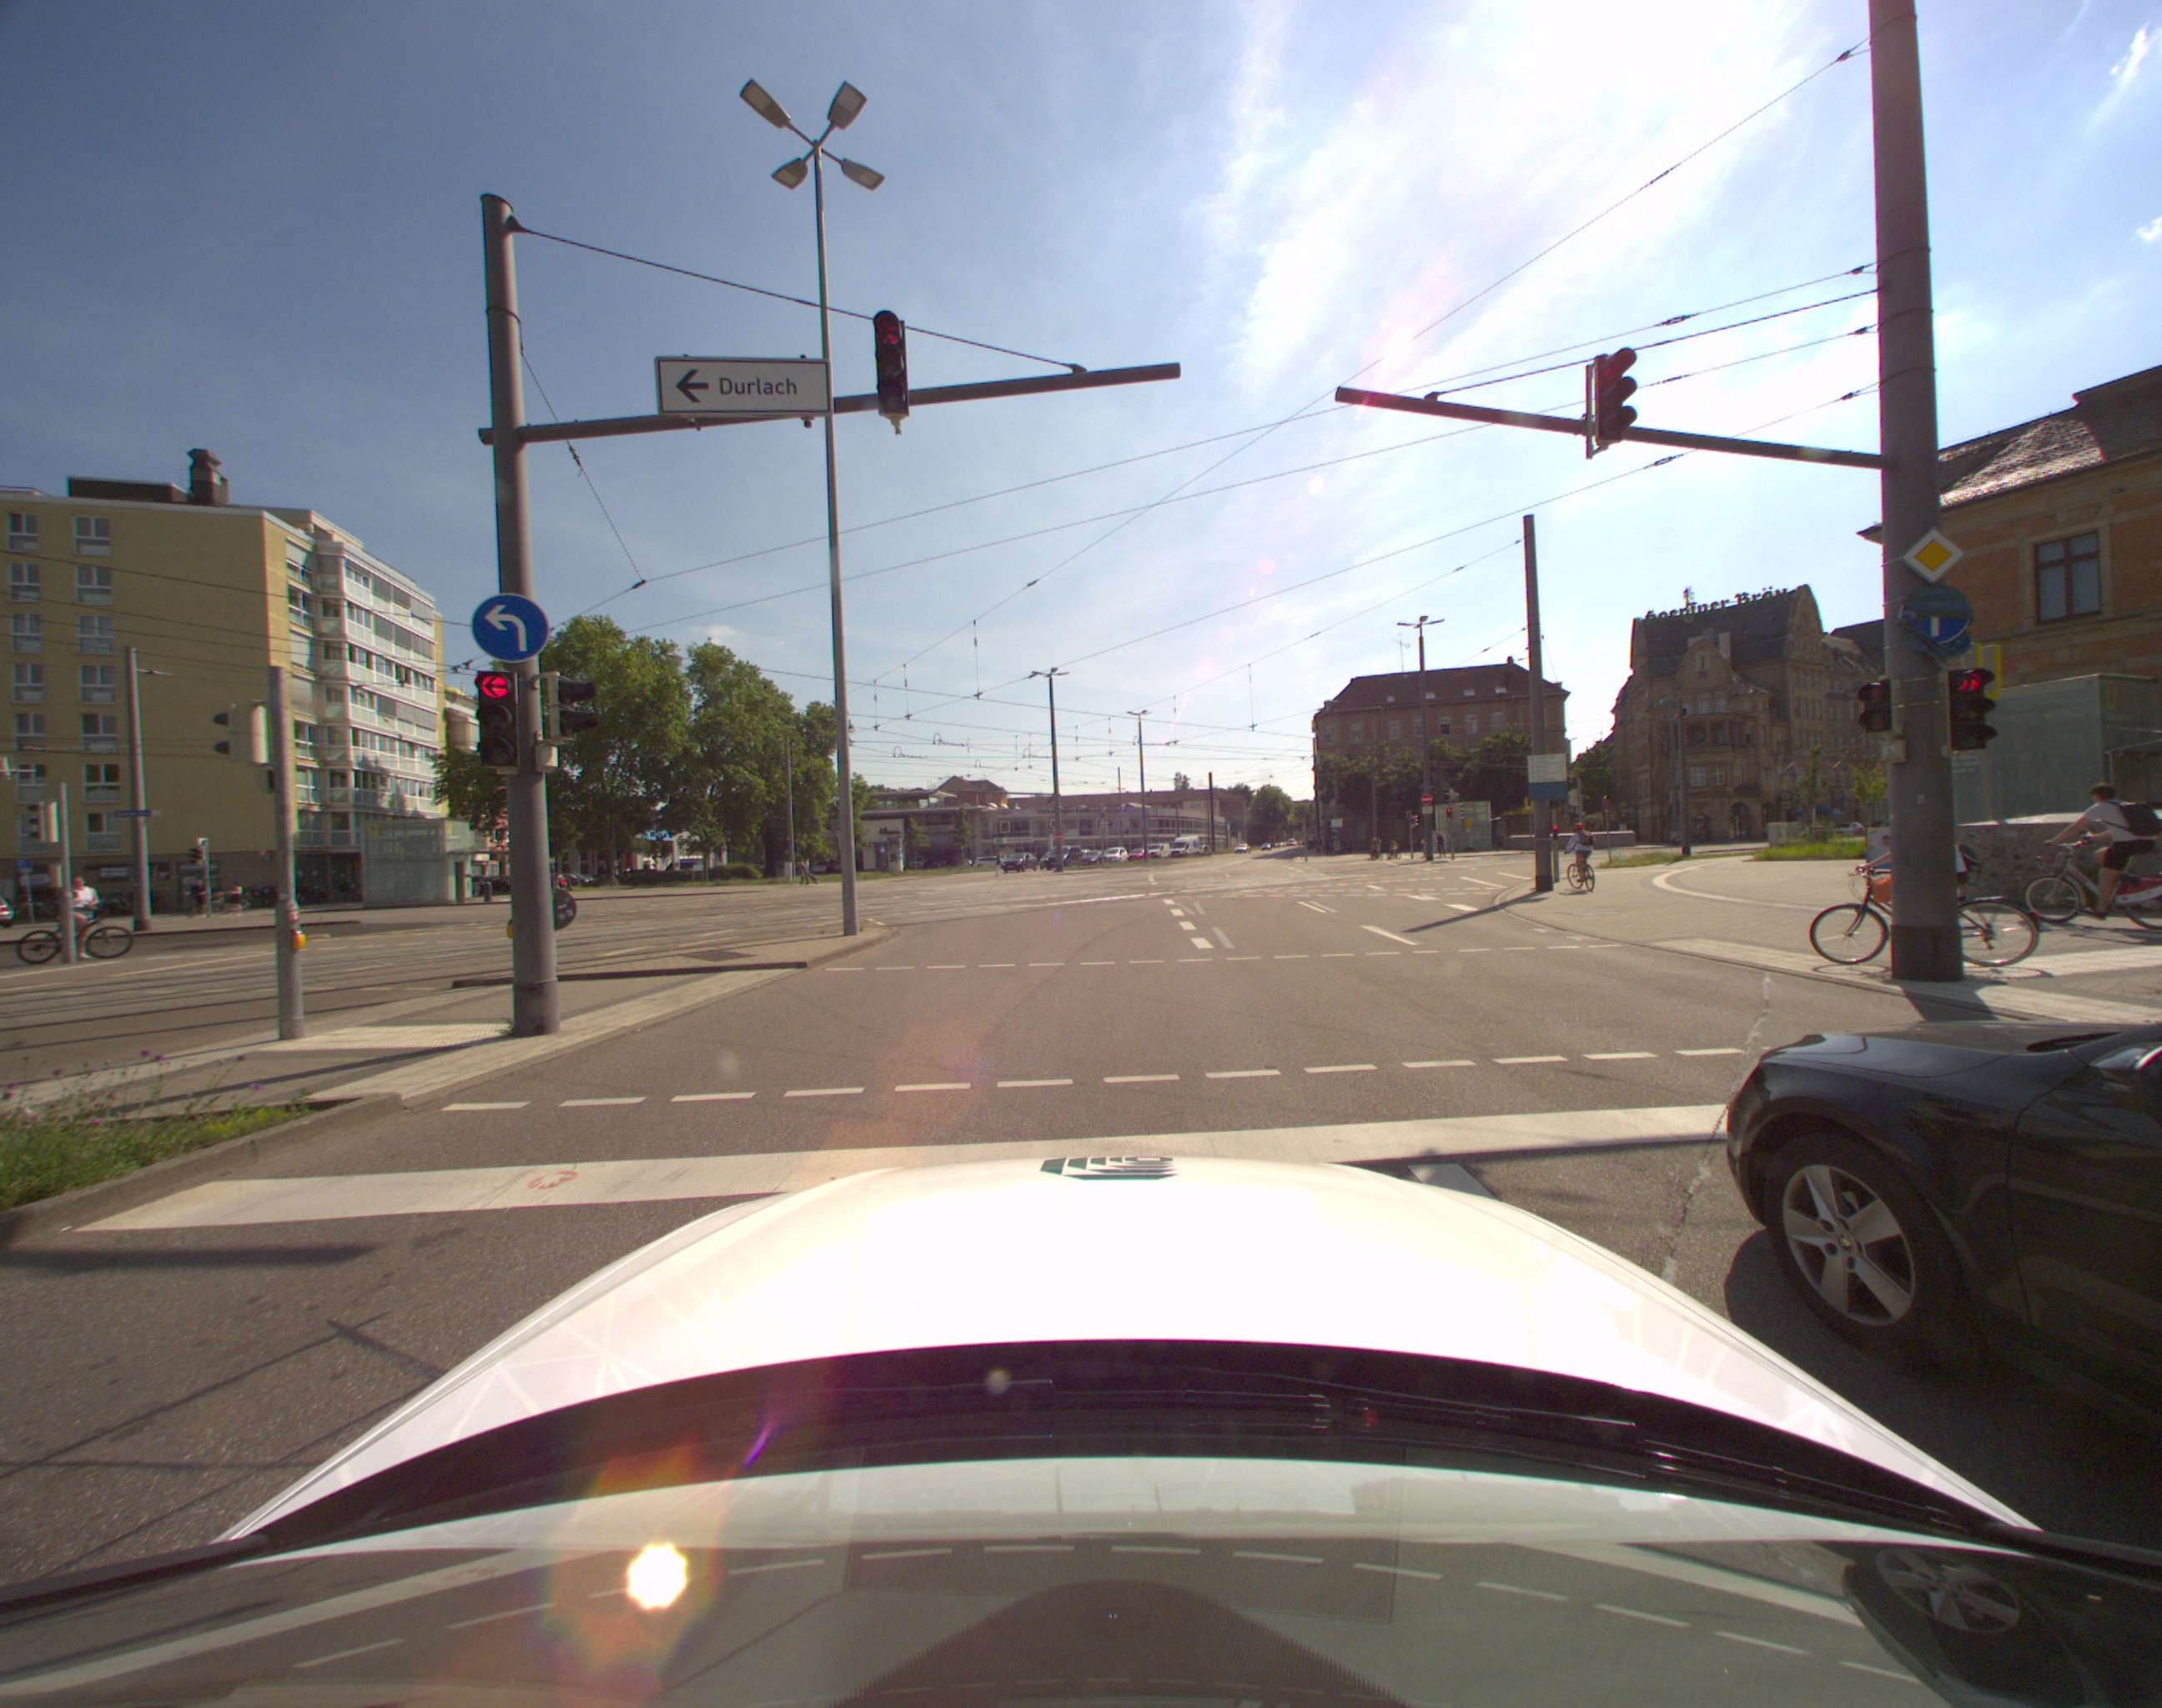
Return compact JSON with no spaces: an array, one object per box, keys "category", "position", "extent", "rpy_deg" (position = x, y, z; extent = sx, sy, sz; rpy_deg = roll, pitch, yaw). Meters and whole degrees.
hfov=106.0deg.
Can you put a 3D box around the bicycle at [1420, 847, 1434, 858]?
[{"category":"bicycle","position":[26.030,-0.124,61.269],"extent":[0.497,0.866,1.590],"rpy_deg":[0,0,7]}]

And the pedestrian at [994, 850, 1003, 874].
[{"category":"pedestrian","position":[-5.625,0.518,55.322],"extent":[0.456,1.605,0.396],"rpy_deg":[0,-1,-34]}]

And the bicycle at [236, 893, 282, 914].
[{"category":"bicycle","position":[-46.816,2.794,46.391],"extent":[1.750,1.043,0.582],"rpy_deg":[-3,1,-9]}]

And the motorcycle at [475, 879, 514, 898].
[{"category":"motorcycle","position":[-35.751,2.125,49.651],"extent":[2.019,1.062,0.642],"rpy_deg":[-2,0,9]}]

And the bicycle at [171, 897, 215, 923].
[{"category":"bicycle","position":[-40.937,2.570,37.563],"extent":[0.584,1.130,1.784],"rpy_deg":[-3,-1,-21]}]

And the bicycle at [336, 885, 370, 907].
[{"category":"bicycle","position":[-44.393,2.545,49.678],"extent":[0.581,1.219,1.754],"rpy_deg":[-3,1,-5]}]

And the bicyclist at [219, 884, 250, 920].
[{"category":"bicyclist","position":[-39.237,2.227,37.743],"extent":[0.728,1.572,0.613],"rpy_deg":[-3,-1,2]}]

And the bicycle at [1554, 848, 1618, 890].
[{"category":"bicycle","position":[13.516,0.386,21.866],"extent":[0.710,1.015,2.026],"rpy_deg":[-5,0,10]}]

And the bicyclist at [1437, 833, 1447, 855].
[{"category":"bicyclist","position":[26.927,-0.756,60.726],"extent":[0.661,1.624,0.787],"rpy_deg":[-1,0,24]}]

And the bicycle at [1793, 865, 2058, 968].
[{"category":"bicycle","position":[9.293,0.700,9.097],"extent":[1.894,1.015,0.721],"rpy_deg":[-5,-1,35]}]

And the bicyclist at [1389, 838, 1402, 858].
[{"category":"bicyclist","position":[23.533,-0.477,60.961],"extent":[0.918,1.451,1.258],"rpy_deg":[-1,1,21]}]

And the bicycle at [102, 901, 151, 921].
[{"category":"bicycle","position":[-52.069,3.110,44.446],"extent":[1.750,0.916,0.582],"rpy_deg":[-3,1,-8]}]

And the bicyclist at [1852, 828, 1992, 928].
[{"category":"bicyclist","position":[9.318,0.261,9.069],"extent":[0.904,1.029,0.721],"rpy_deg":[-5,-1,35]}]

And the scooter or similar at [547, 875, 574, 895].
[{"category":"scooter or similar","position":[-32.102,1.909,50.211],"extent":[1.351,1.119,0.519],"rpy_deg":[-2,0,11]}]

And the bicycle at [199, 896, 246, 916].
[{"category":"bicycle","position":[-48.420,2.908,45.932],"extent":[1.751,0.965,0.582],"rpy_deg":[-3,1,-11]}]

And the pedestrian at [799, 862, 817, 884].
[{"category":"pedestrian","position":[-17.882,1.253,53.405],"extent":[1.117,1.404,0.652],"rpy_deg":[0,-1,-20]}]

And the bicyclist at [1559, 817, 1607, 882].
[{"category":"bicyclist","position":[13.467,-0.123,21.863],"extent":[0.710,1.669,0.877],"rpy_deg":[-5,-1,10]}]

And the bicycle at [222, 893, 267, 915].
[{"category":"bicycle","position":[-46.963,2.801,45.729],"extent":[1.747,1.085,0.583],"rpy_deg":[-3,3,-4]}]

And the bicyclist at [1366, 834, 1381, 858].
[{"category":"bicyclist","position":[22.022,-0.578,61.340],"extent":[0.920,1.820,1.056],"rpy_deg":[-1,-1,11]}]

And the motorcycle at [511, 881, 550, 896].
[{"category":"motorcycle","position":[-36.866,2.290,54.562],"extent":[0.632,0.842,2.051],"rpy_deg":[-2,0,35]}]

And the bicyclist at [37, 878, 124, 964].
[{"category":"bicyclist","position":[-20.921,1.376,17.046],"extent":[0.774,1.684,0.749],"rpy_deg":[-4,0,-9]}]

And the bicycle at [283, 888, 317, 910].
[{"category":"bicycle","position":[-46.291,2.680,48.300],"extent":[0.540,1.186,1.881],"rpy_deg":[-2,0,-13]}]

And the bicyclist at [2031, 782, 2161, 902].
[{"category":"bicyclist","position":[13.313,-0.149,10.627],"extent":[0.711,1.488,0.950],"rpy_deg":[0,-1,1]}]

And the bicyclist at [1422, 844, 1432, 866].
[{"category":"bicyclist","position":[26.045,0.079,61.294],"extent":[0.497,1.621,0.651],"rpy_deg":[0,0,7]}]

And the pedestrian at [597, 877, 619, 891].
[{"category":"pedestrian","position":[-33.169,2.125,57.099],"extent":[1.175,0.892,0.818],"rpy_deg":[-2,0,-18]}]

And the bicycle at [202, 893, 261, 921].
[{"category":"bicycle","position":[-39.264,2.426,37.657],"extent":[0.749,1.130,1.798],"rpy_deg":[-2,0,3]}]

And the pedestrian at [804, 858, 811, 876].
[{"category":"pedestrian","position":[-24.570,1.174,73.230],"extent":[0.388,1.596,0.467],"rpy_deg":[-1,-1,25]}]

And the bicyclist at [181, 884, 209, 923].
[{"category":"bicyclist","position":[-40.791,2.259,37.494],"extent":[0.584,1.735,0.613],"rpy_deg":[-3,-1,-22]}]

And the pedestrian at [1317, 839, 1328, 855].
[{"category":"pedestrian","position":[21.179,-0.626,71.451],"extent":[0.616,1.433,0.705],"rpy_deg":[0,-1,-36]}]

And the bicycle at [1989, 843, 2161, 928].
[{"category":"bicycle","position":[13.304,0.375,10.604],"extent":[0.711,1.015,2.021],"rpy_deg":[-1,-1,2]}]
